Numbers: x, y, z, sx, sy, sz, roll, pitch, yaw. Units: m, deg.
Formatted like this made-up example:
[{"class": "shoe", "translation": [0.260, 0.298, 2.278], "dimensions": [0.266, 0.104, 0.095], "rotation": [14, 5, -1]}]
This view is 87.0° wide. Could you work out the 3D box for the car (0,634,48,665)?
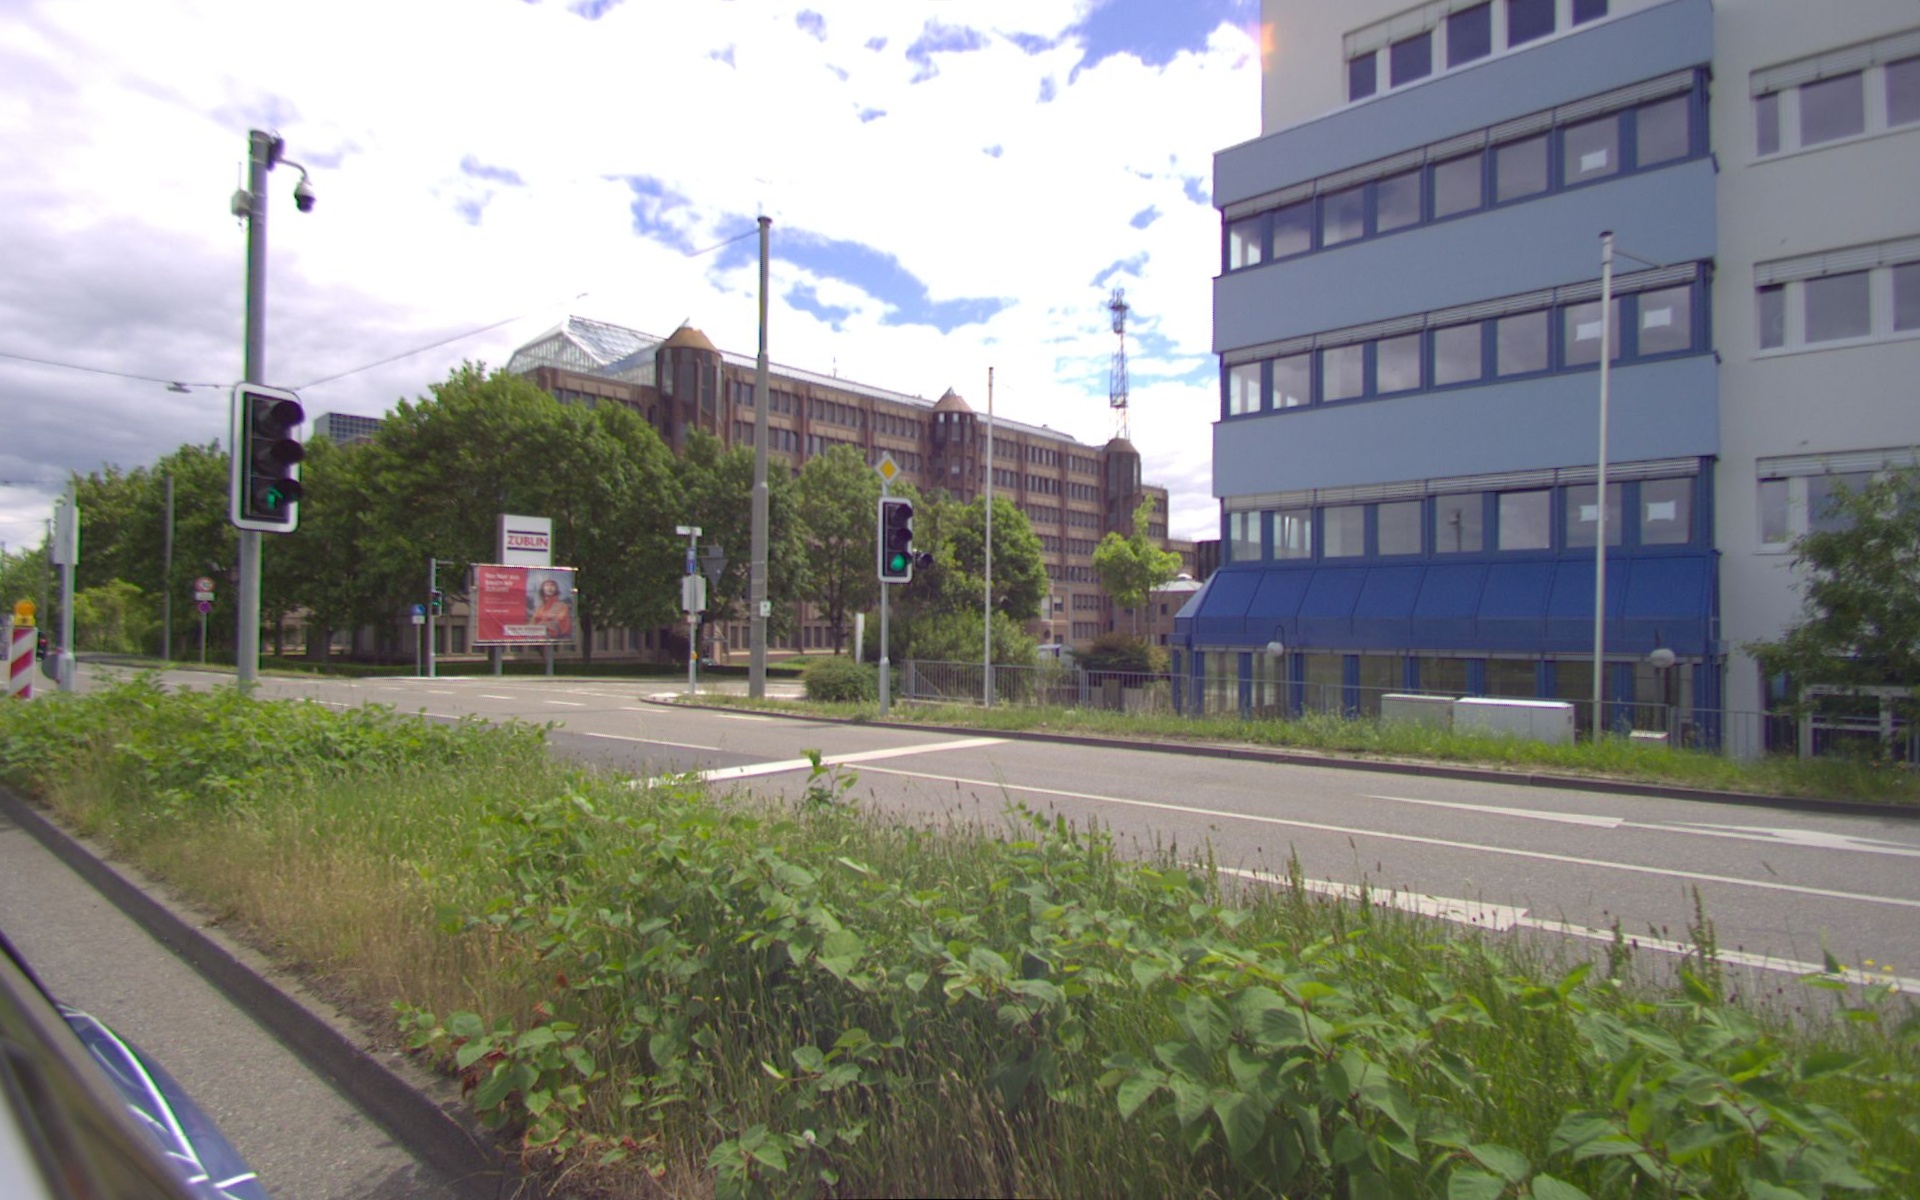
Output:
[{"class": "car", "translation": [-53.290, 2.762, 57.286], "dimensions": [4.759, 1.715, 1.972], "rotation": [-2, -3, 42]}]
